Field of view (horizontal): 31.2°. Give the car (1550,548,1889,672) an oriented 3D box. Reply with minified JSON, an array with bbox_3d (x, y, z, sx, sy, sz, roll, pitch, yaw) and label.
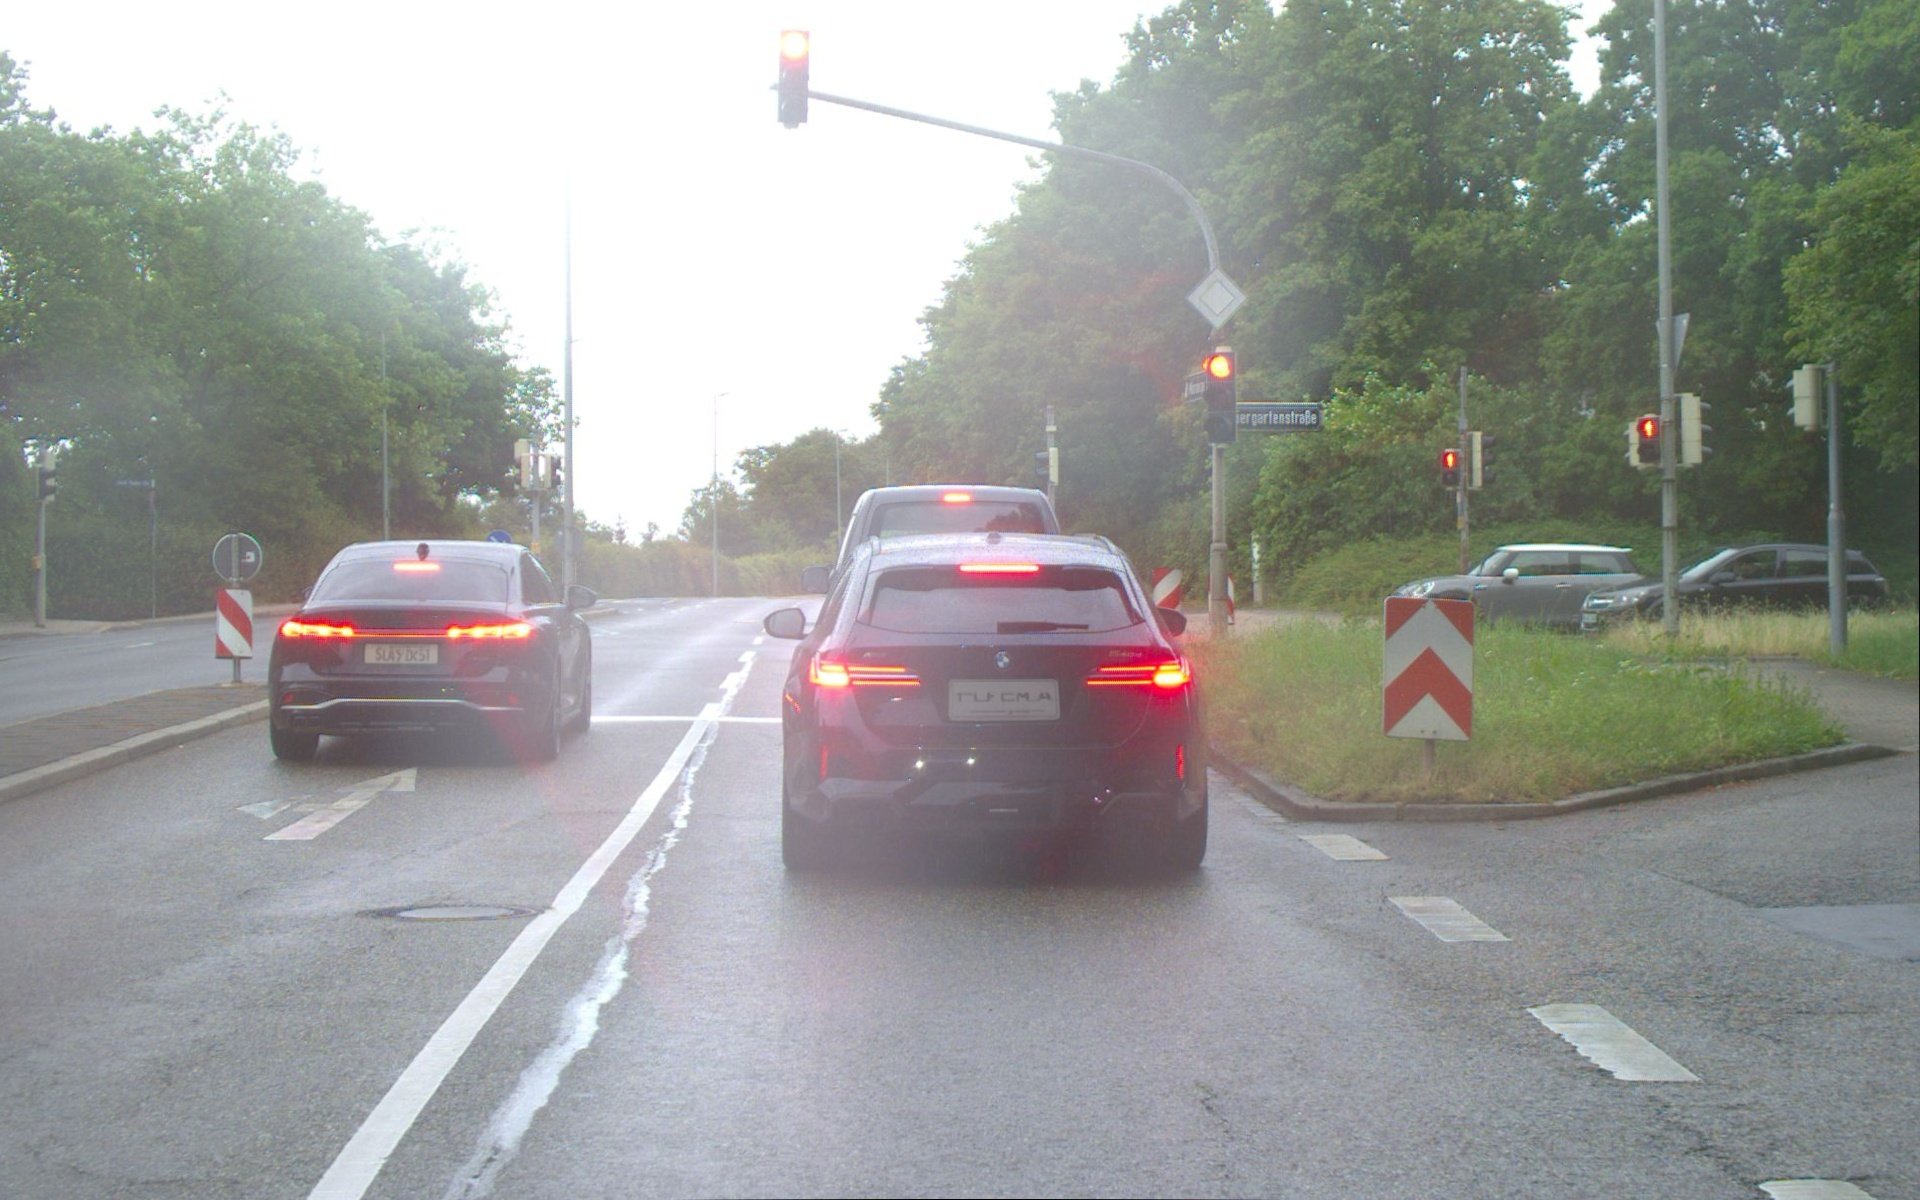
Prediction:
[{"bbox_3d":[10.137,0.118,46.019,3.986,1.504,1.902,-2,1,-7],"label":"car"}]

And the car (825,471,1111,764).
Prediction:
[{"bbox_3d":[0.037,0.088,24.051,1.818,1.862,3.952,1,1,0],"label":"car"}]

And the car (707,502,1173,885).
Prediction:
[{"bbox_3d":[0.021,0.376,16.434,1.898,1.546,4.614,1,0,3],"label":"car"}]

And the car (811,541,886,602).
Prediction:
[{"bbox_3d":[-3.137,-0.824,97.393,1.993,1.618,3.952,-2,1,0],"label":"car"}]

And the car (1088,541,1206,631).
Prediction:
[{"bbox_3d":[3.396,-0.283,63.125,1.873,1.537,3.952,-2,1,0],"label":"car"}]

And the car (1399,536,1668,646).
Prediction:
[{"bbox_3d":[8.304,-0.120,49.931,3.502,1.422,1.703,-2,-1,-3],"label":"car"}]

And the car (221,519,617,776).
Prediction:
[{"bbox_3d":[-3.559,0.266,23.403,1.993,1.522,4.328,-2,1,0],"label":"car"}]
